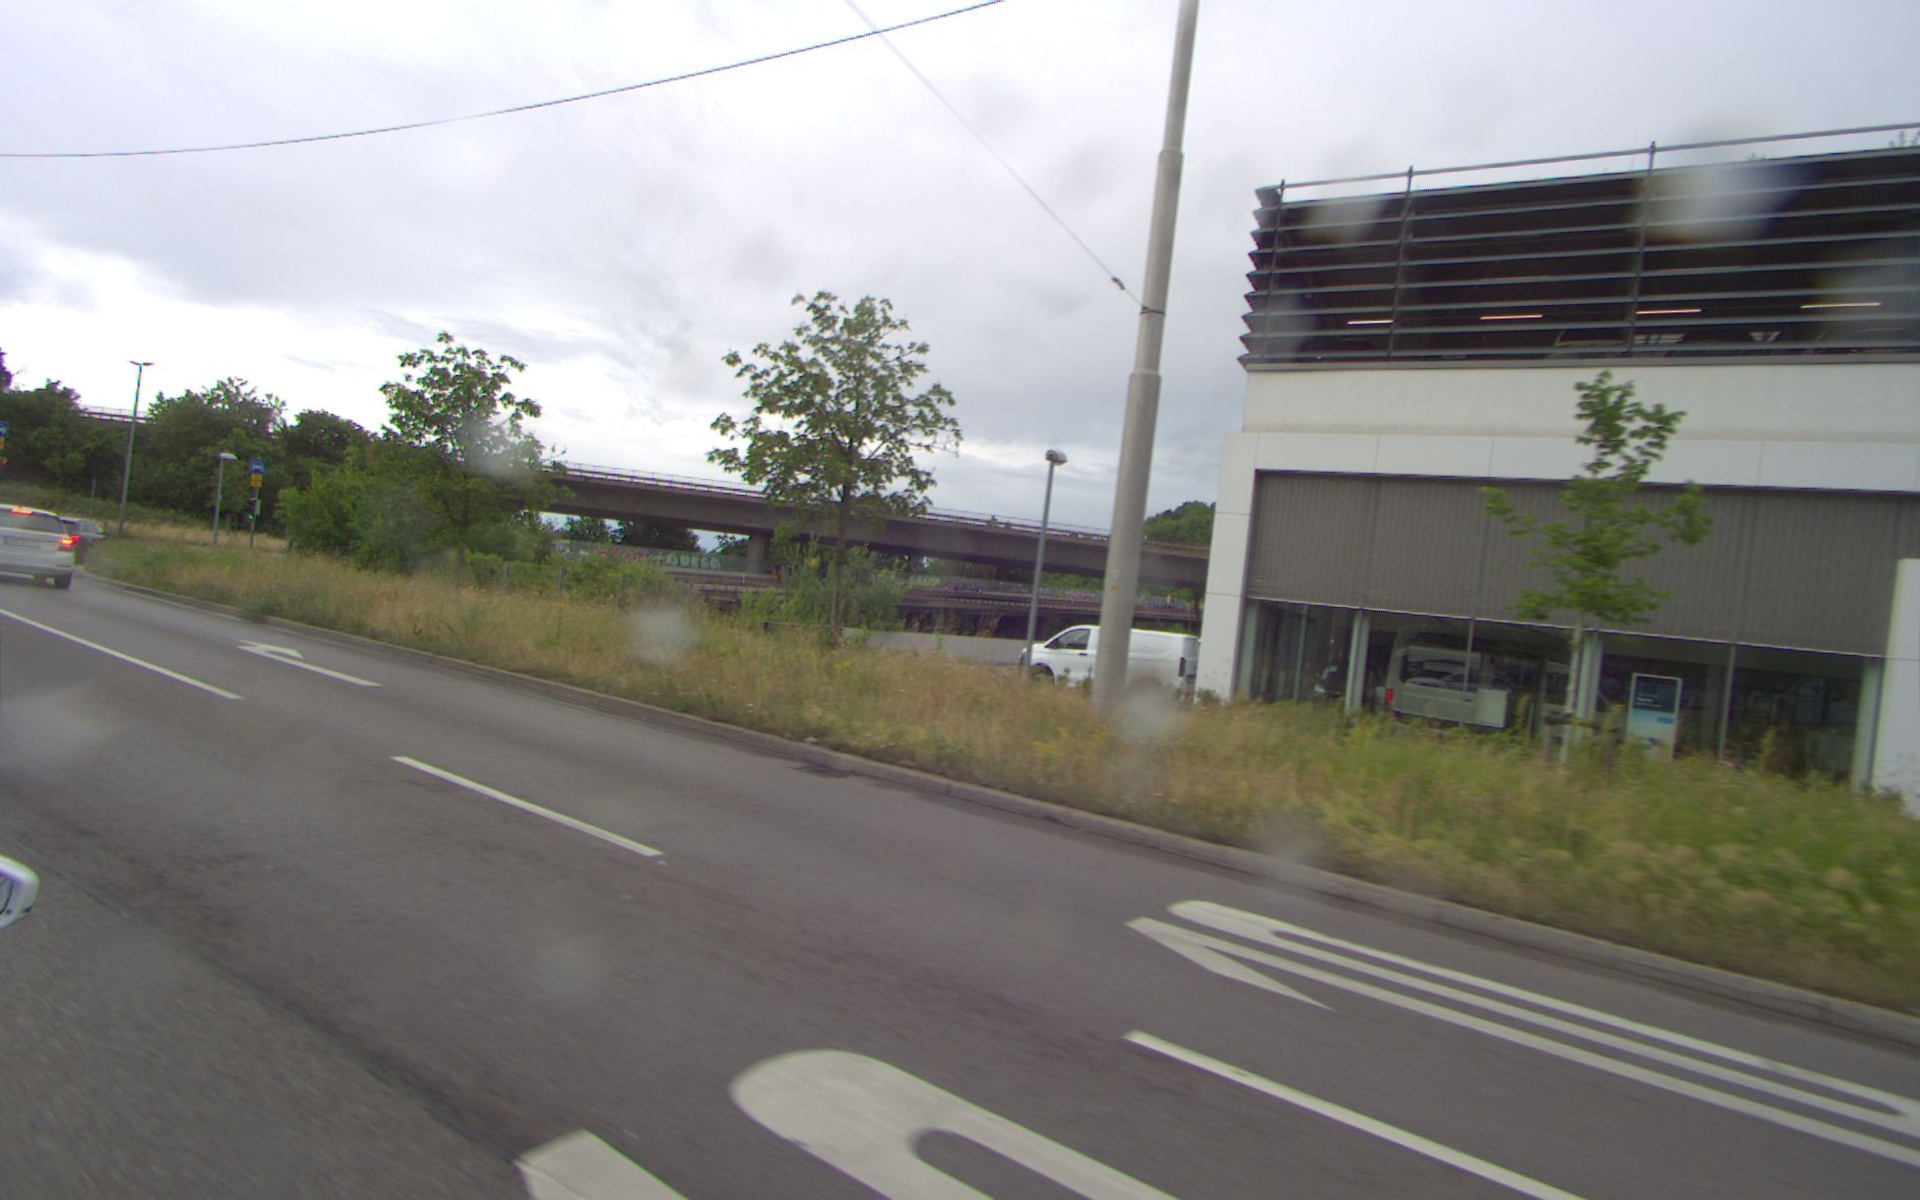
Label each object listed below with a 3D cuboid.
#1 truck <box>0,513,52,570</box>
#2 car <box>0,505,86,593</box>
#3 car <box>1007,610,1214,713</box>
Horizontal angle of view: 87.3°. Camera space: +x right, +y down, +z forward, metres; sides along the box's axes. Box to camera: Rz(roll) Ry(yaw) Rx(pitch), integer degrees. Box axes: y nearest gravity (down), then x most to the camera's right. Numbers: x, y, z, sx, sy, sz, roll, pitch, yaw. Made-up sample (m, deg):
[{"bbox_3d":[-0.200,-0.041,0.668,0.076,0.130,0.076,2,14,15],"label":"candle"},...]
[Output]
[{"bbox_3d":[-34.889,-2.206,36.683,1.982,1.813,4.371,7,0,-35],"label":"truck"},{"bbox_3d":[-18.835,-1.117,19.848,3.618,1.474,1.746,6,-2,40],"label":"car"},{"bbox_3d":[4.071,1.655,27.411,5.001,2.037,2.049,7,-1,27],"label":"car"}]
